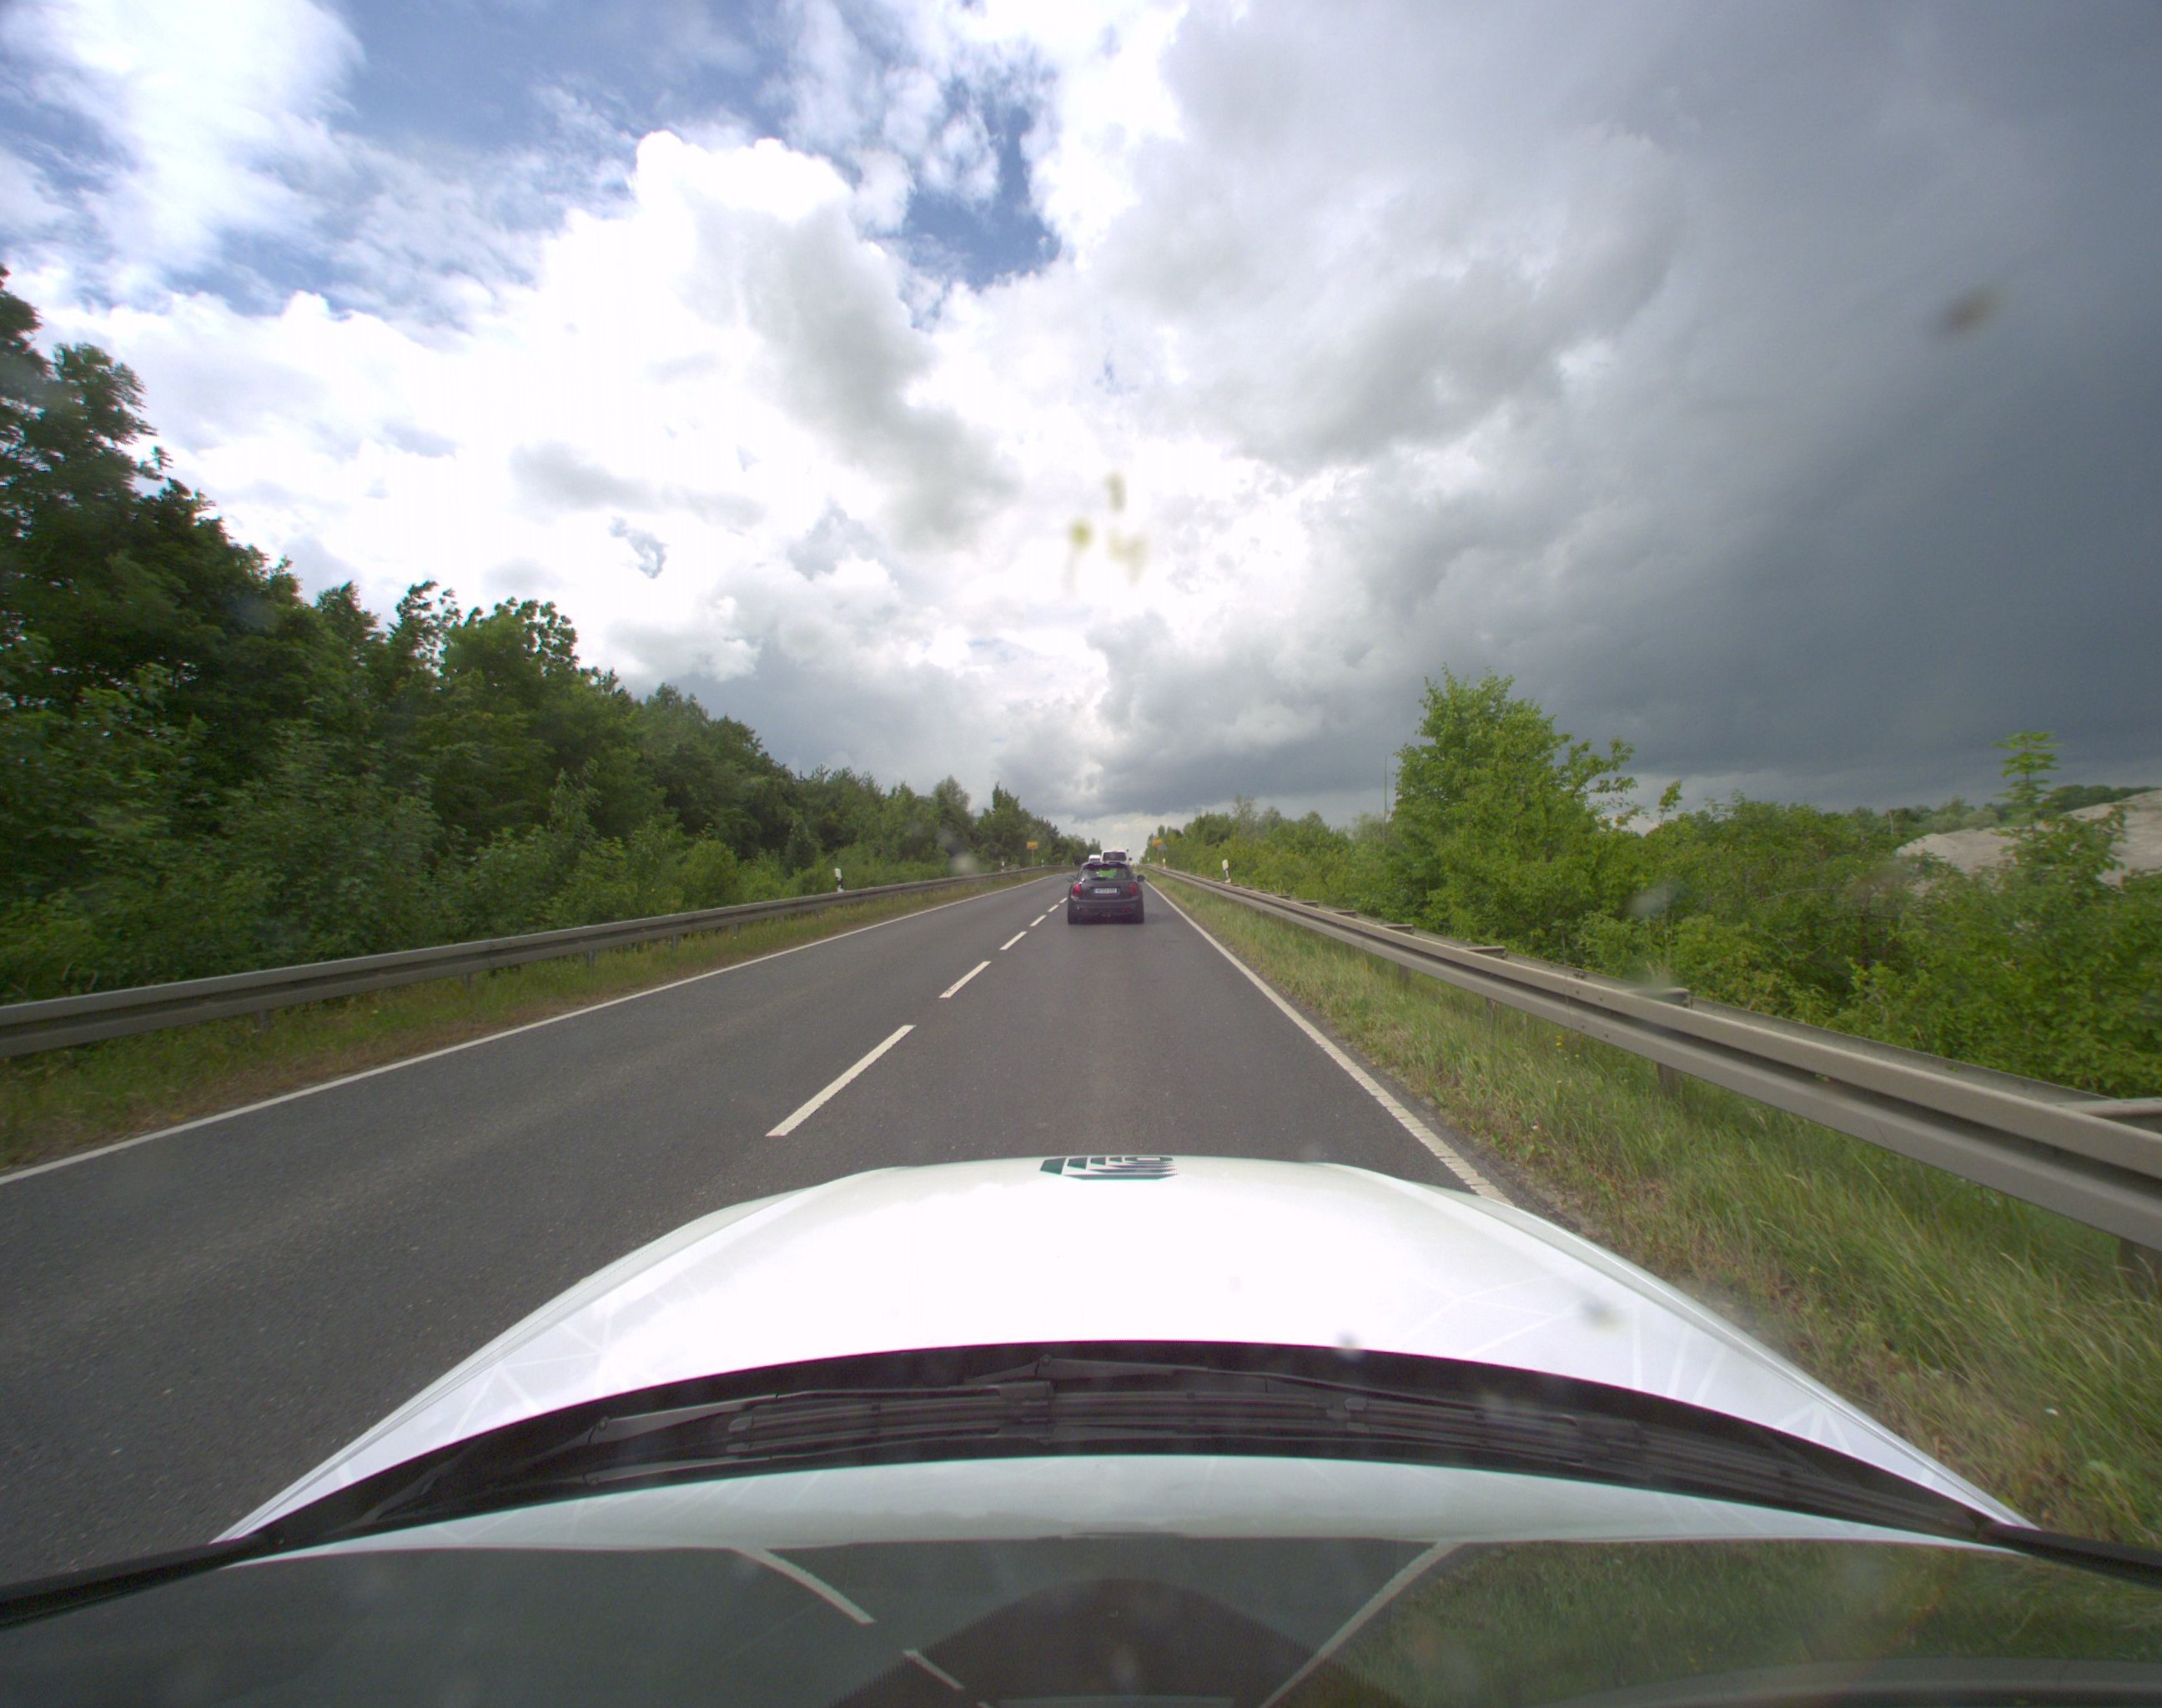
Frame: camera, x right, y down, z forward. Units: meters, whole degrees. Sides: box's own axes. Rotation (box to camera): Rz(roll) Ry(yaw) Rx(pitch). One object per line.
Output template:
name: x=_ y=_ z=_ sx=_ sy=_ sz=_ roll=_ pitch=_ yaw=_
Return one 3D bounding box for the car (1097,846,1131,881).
car: x=2.052 y=0.576 z=50.192 sx=2.014 sy=2.013 sz=4.003 roll=-1 pitch=0 yaw=3

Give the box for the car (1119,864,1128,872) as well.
car: x=8.461 y=2.799 z=161.069 sx=1.687 sy=1.319 sz=4.005 roll=-3 pitch=0 yaw=4

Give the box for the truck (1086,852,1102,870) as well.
truck: x=2.046 y=1.089 z=125.113 sx=2.056 sy=2.743 sz=7.012 roll=-2 pitch=-1 yaw=3

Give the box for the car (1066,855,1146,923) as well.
car: x=0.567 y=0.765 z=19.903 sx=1.726 sy=1.456 sz=4.000 roll=-1 pitch=0 yaw=1
